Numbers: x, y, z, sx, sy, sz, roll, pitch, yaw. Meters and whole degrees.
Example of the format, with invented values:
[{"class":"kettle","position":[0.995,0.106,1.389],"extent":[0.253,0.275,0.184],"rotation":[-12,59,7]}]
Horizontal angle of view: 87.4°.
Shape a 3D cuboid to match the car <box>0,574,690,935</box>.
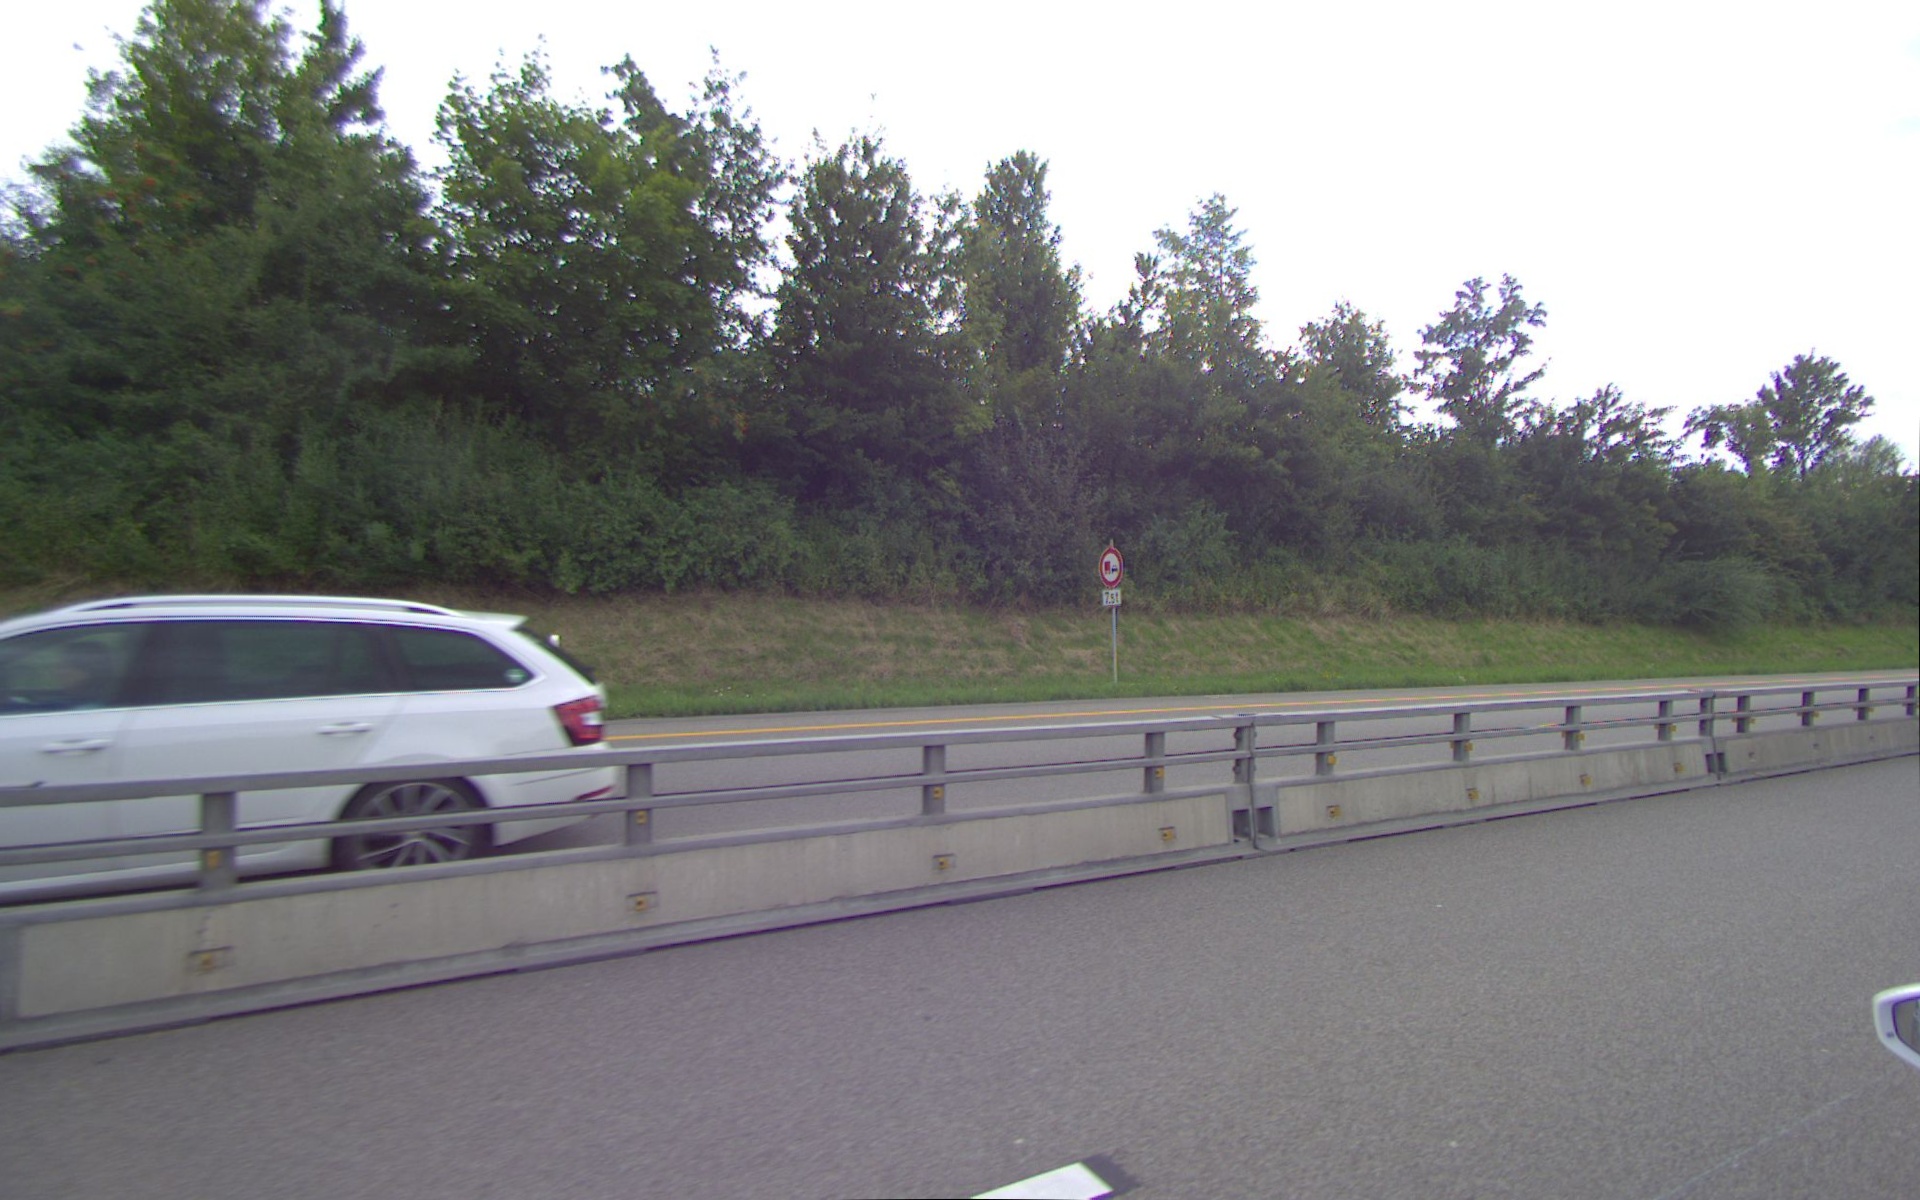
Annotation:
[{"class":"car","position":[-3.853,0.637,5.114],"extent":[4.500,1.473,1.686],"rotation":[1,0,-31]}]
